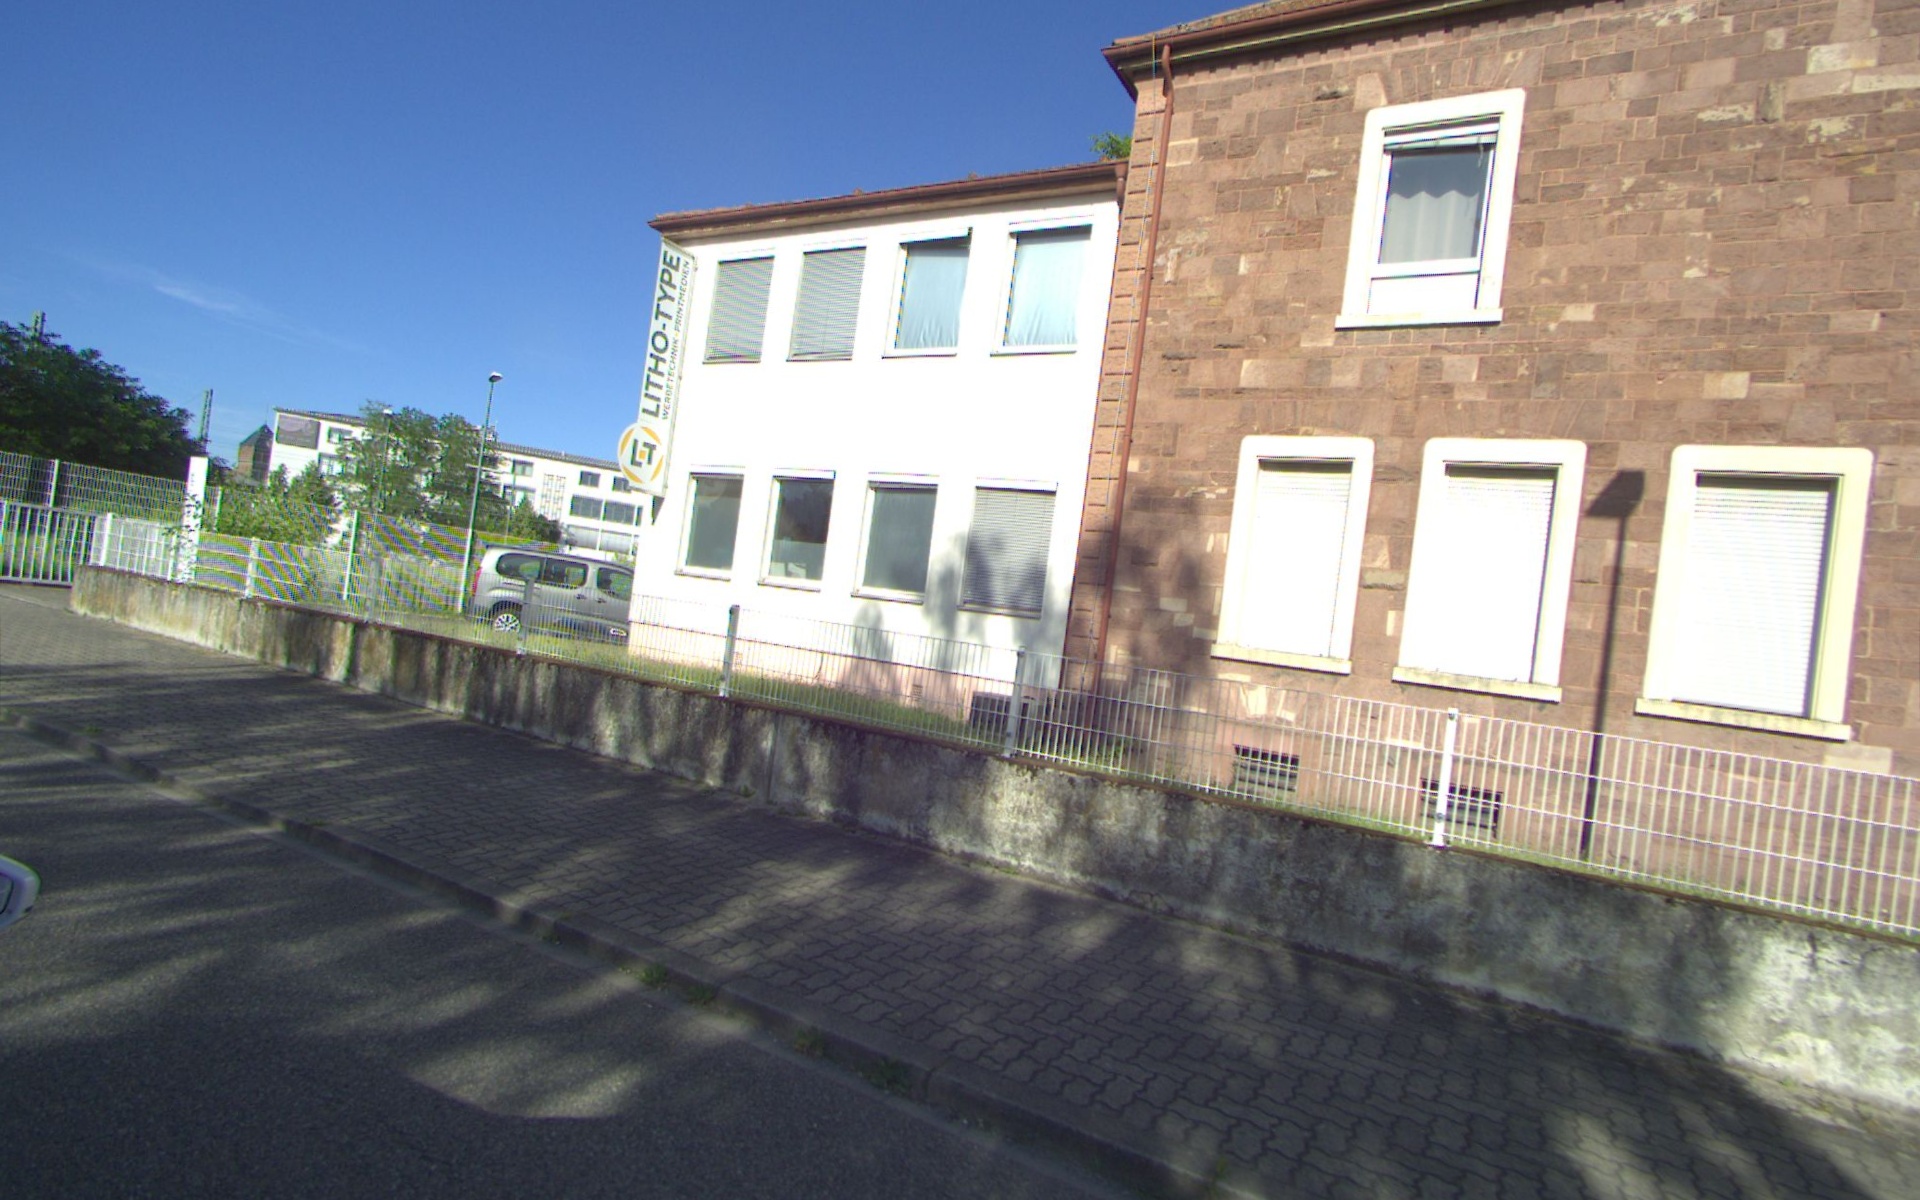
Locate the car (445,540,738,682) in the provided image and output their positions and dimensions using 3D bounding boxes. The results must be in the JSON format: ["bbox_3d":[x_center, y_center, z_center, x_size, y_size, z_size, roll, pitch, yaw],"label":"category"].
[{"bbox_3d":[-7.127,0.239,20.042,5.077,2.037,1.876,8,-1,-12],"label":"car"}]
